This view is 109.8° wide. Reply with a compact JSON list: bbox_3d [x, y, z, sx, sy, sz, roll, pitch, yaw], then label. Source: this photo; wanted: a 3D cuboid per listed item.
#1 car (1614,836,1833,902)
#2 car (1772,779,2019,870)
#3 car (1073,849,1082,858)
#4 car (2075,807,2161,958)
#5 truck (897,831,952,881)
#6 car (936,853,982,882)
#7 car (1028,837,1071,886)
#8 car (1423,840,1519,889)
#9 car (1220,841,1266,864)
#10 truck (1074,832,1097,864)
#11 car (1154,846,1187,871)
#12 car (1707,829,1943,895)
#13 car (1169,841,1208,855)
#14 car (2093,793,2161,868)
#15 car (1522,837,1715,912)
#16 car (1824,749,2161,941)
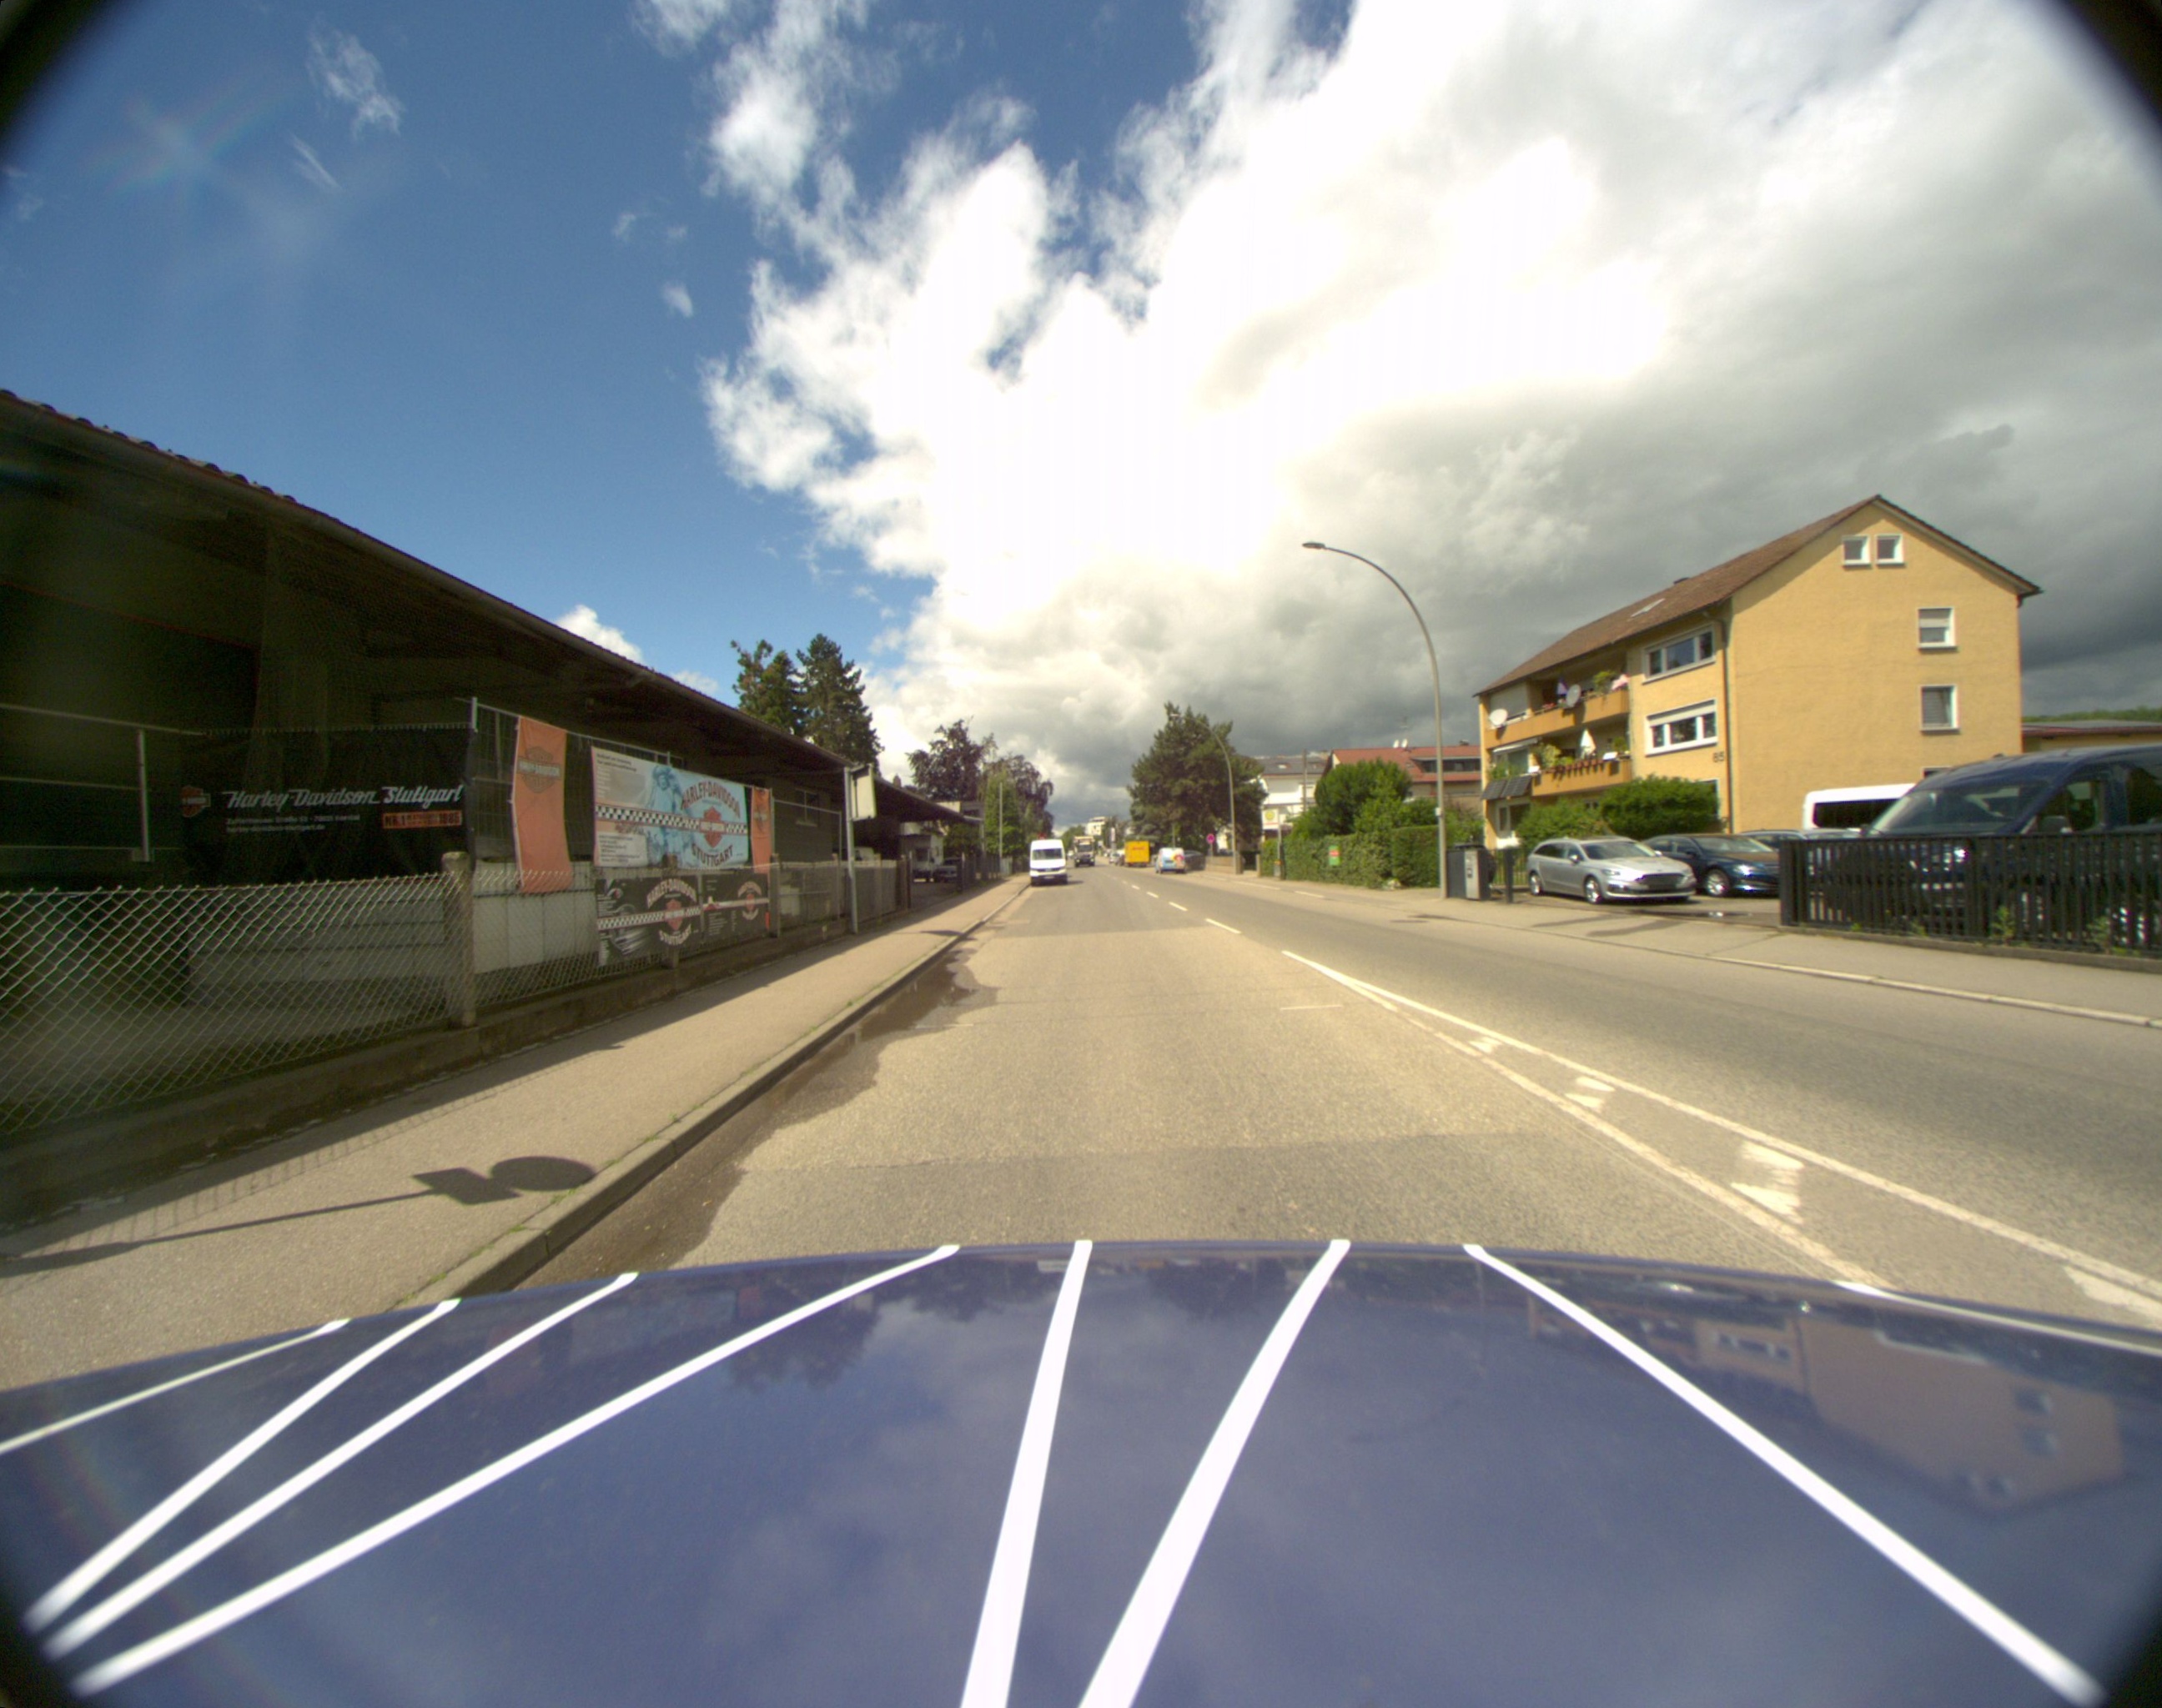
[{"bbox_3d":[15.103,0.301,18.196,1.885,1.334,3.999,-2,1,1],"label":"car"},{"bbox_3d":[20.430,-0.689,19.358,1.998,2.002,3.999,-2,1,1],"label":"car"},{"bbox_3d":[-0.972,-0.134,199.929,2.091,2.310,5.202,-2,1,1],"label":"car"},{"bbox_3d":[12.382,0.283,6.964,1.813,1.612,3.621,-2,1,1],"label":"car"},{"bbox_3d":[-9.476,0.101,46.391,2.091,2.812,5.202,-2,1,1],"label":"truck"},{"bbox_3d":[-7.141,0.731,44.827,1.863,1.521,5.202,-2,1,0],"label":"car"},{"bbox_3d":[-1.705,0.371,43.184,2.091,2.519,5.202,-2,1,1],"label":"car"},{"bbox_3d":[14.627,0.360,28.727,1.831,1.656,3.522,-2,1,1],"label":"car"},{"bbox_3d":[15.291,-0.146,71.842,2.003,2.002,3.990,-3,1,-32],"label":"car"},{"bbox_3d":[0.666,-0.831,97.939,2.664,3.789,9.814,-2,1,1],"label":"truck"},{"bbox_3d":[6.455,0.283,55.114,1.730,1.671,3.999,-2,1,-2],"label":"car"},{"bbox_3d":[17.911,0.146,18.608,1.883,1.364,3.999,-2,1,1],"label":"car"},{"bbox_3d":[14.163,-0.743,99.986,4.735,1.669,2.218,-2,1,-1],"label":"car"},{"bbox_3d":[28.712,-0.627,18.814,1.998,1.915,3.999,-2,1,1],"label":"car"},{"bbox_3d":[12.339,0.395,17.848,1.887,1.450,4.352,-3,1,8],"label":"car"},{"bbox_3d":[14.223,-0.181,10.671,5.363,2.371,2.104,-2,1,2],"label":"car"}]
